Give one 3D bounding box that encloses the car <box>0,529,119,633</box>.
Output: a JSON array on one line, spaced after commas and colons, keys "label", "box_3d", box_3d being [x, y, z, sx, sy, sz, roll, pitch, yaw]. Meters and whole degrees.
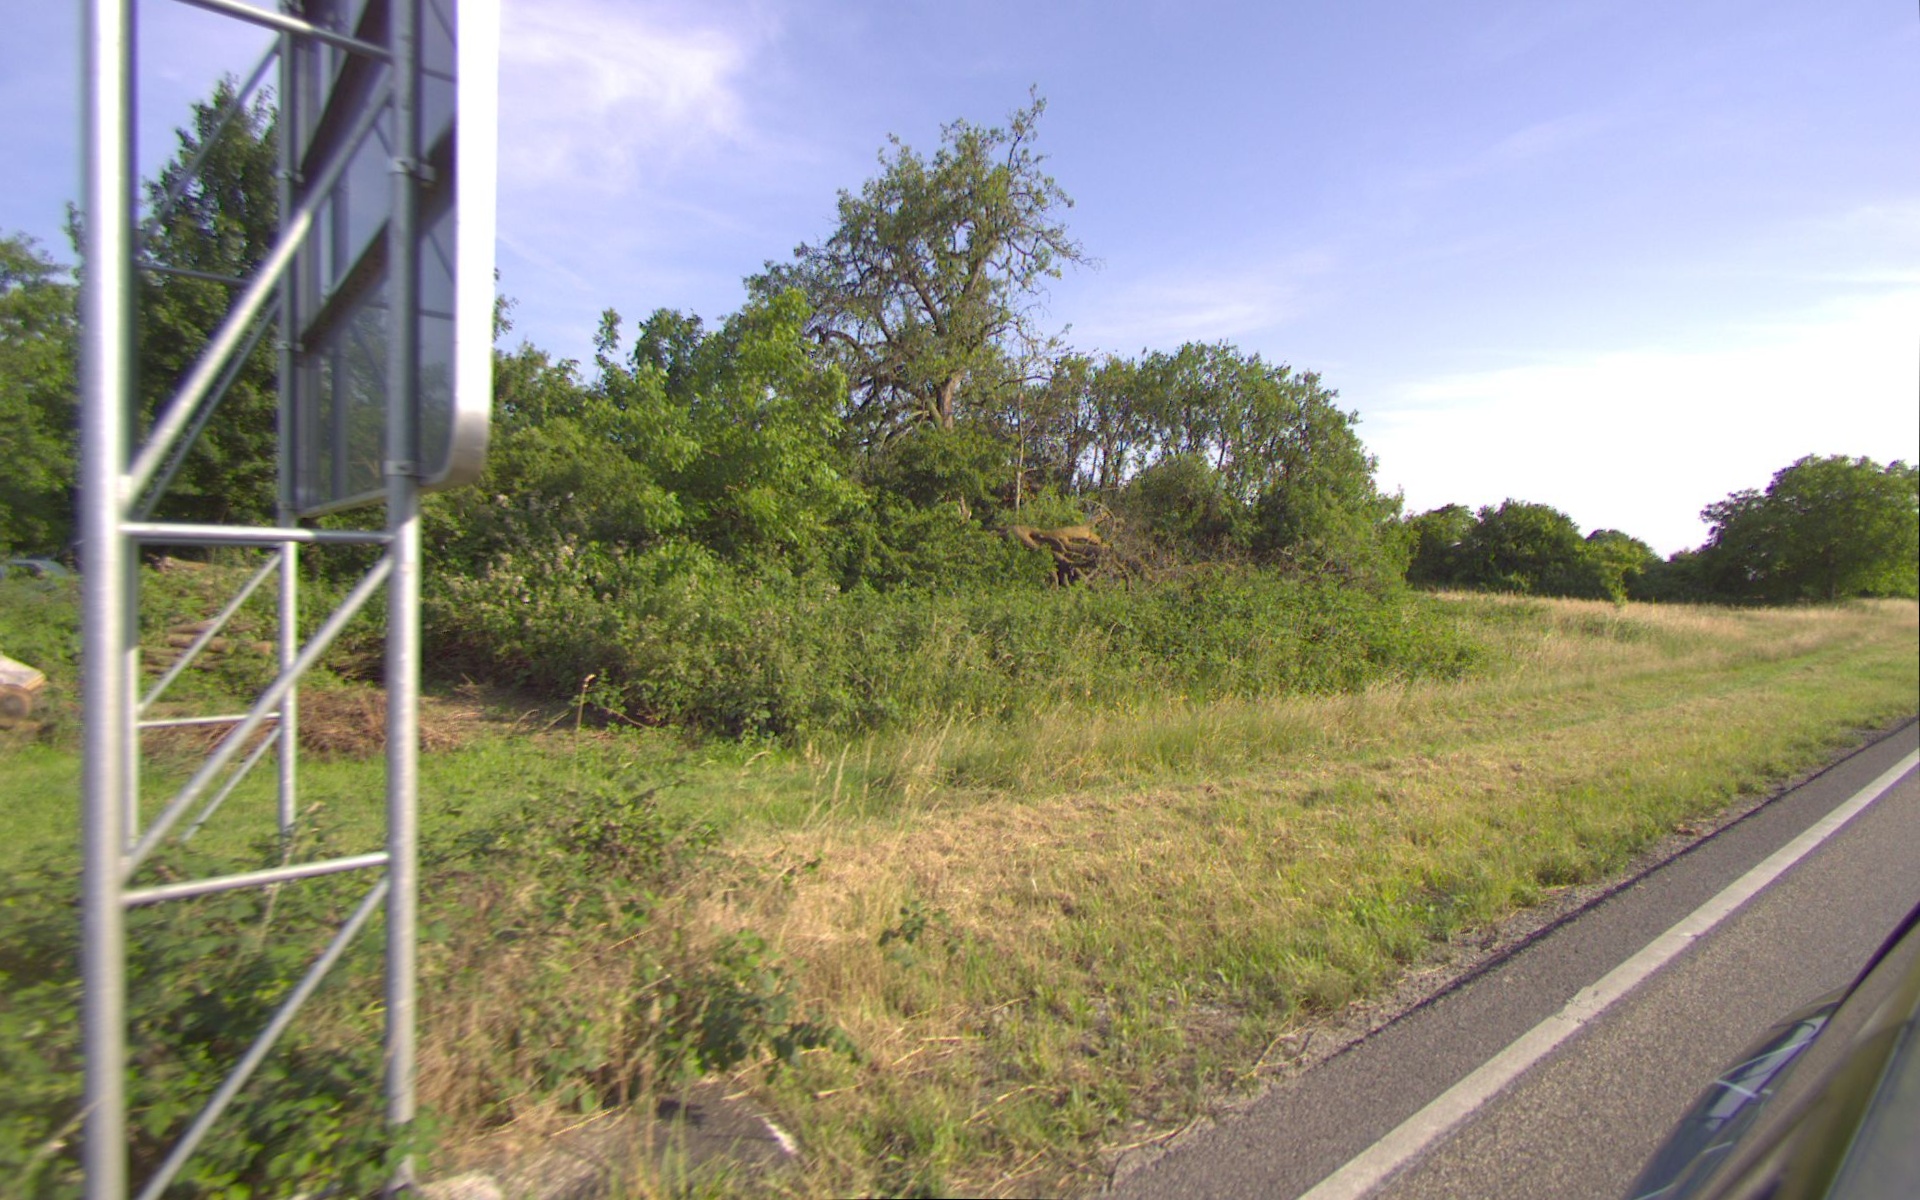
[{"label": "car", "box_3d": [-17.355, -0.335, 17.799, 3.930, 1.772, 1.997, 0, 1, -41]}]
